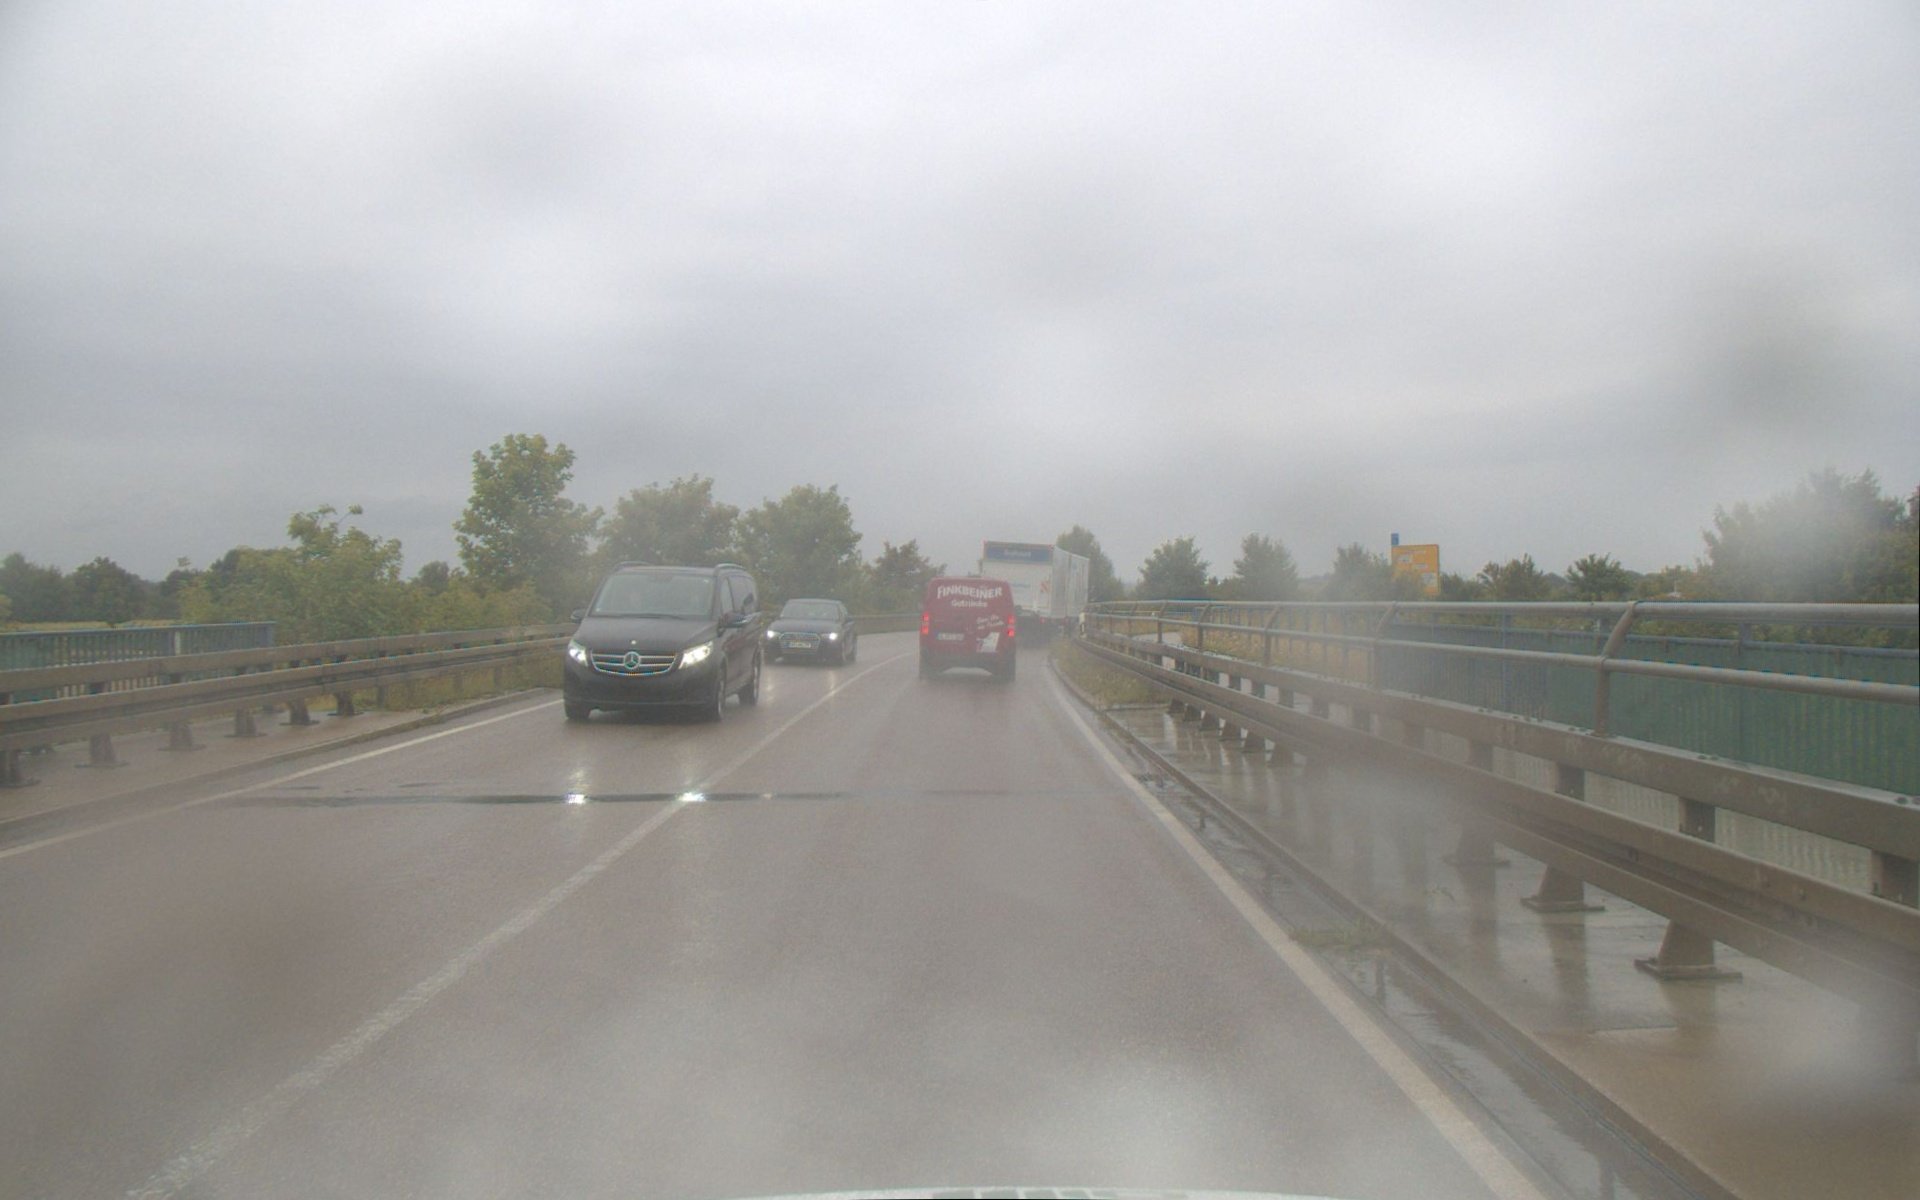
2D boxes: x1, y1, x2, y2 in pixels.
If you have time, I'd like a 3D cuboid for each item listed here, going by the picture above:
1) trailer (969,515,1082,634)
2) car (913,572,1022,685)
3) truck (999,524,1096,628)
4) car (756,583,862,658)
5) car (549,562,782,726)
[{"bbox_3d":[2.586,-0.901,61.729,3.133,3.990,8.746,3,0,8],"label":"trailer"},{"bbox_3d":[0.110,0.485,32.060,1.953,1.959,4.143,1,2,-1],"label":"car"},{"bbox_3d":[3.844,-0.966,70.419,3.133,3.990,8.746,3,0,8],"label":"truck"},{"bbox_3d":[-3.325,0.412,37.147,1.800,1.564,4.071,0,1,3],"label":"car"},{"bbox_3d":[-3.637,0.473,21.400,2.023,1.869,4.932,0,1,1],"label":"car"}]
